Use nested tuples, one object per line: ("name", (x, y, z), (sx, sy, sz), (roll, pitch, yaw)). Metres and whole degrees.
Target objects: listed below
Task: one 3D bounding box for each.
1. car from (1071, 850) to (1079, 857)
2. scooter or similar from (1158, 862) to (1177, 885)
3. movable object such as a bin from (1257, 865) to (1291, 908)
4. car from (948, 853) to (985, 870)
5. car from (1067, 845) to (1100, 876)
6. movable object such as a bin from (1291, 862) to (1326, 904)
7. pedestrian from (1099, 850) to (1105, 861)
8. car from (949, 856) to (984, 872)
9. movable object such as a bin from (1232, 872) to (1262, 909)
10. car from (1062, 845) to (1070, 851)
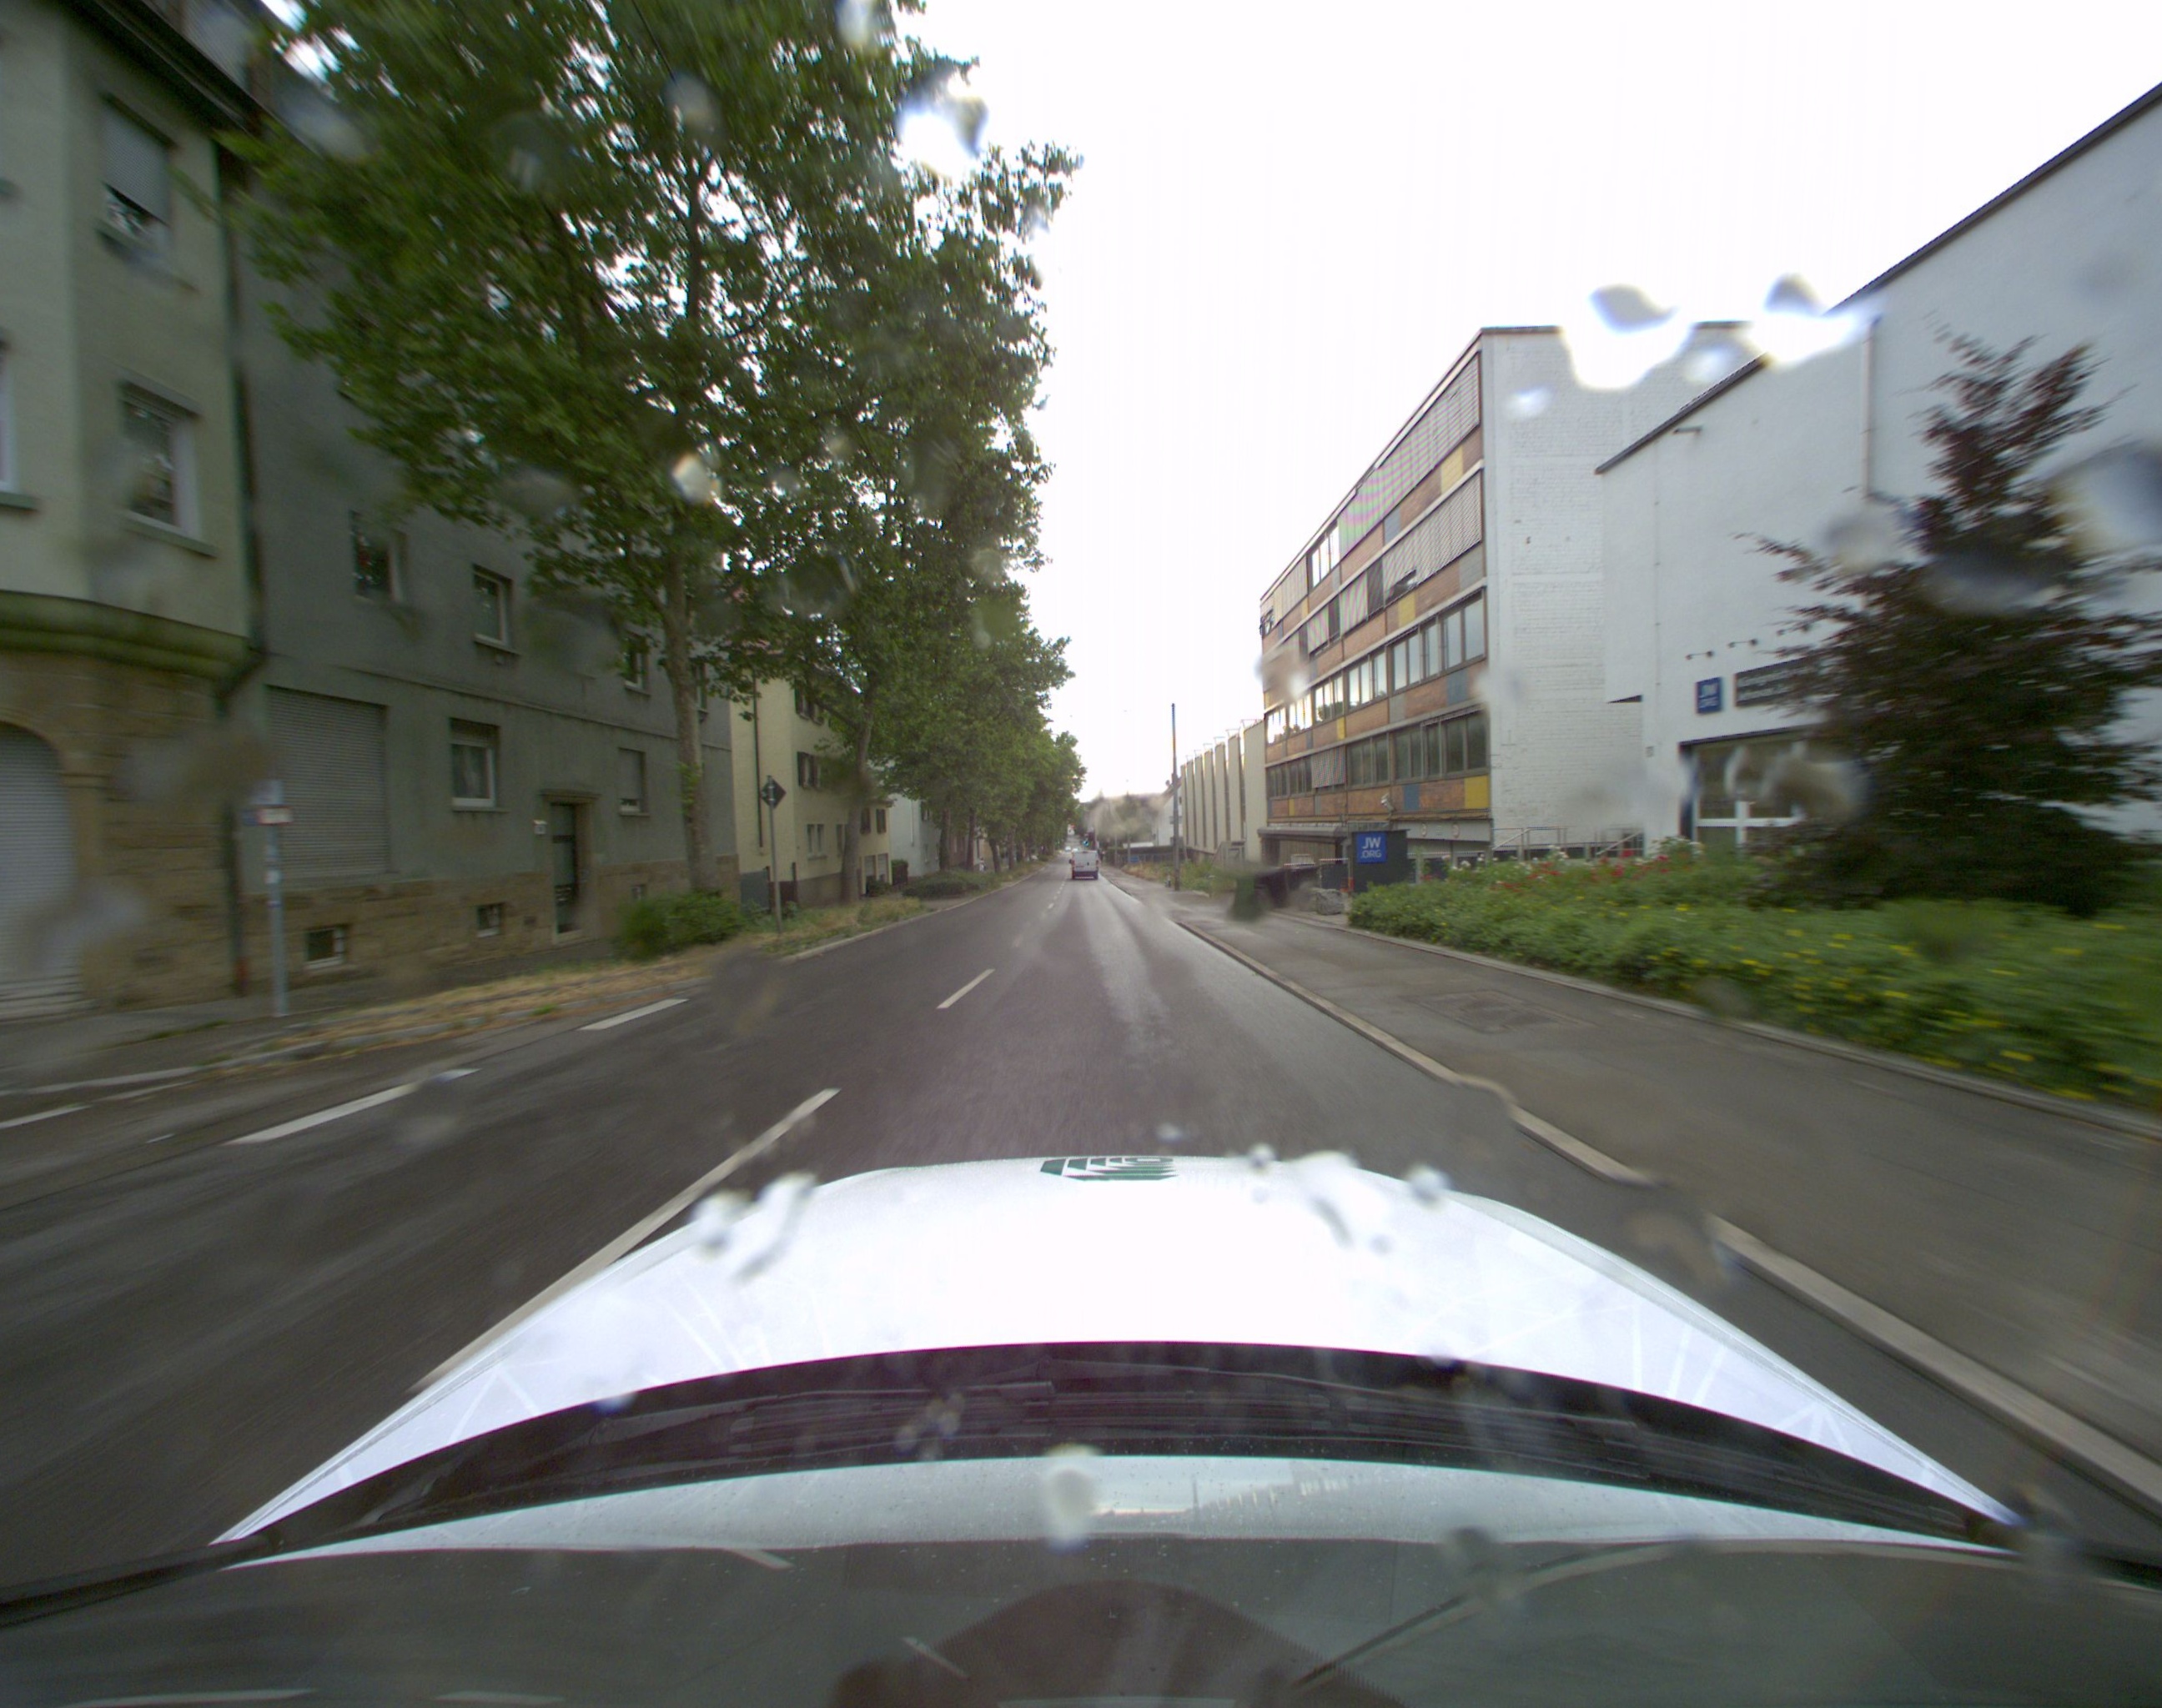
("car", (-1.626, -0.130, 214.567), (1.986, 1.576, 4.003), (-1, 1, 2))
("scooter or similar", (4.358, 0.975, 41.280), (0.604, 1.162, 1.697), (-2, 0, -5))
("movable object such as a bin", (5.331, 0.893, 22.550), (0.692, 1.082, 0.779), (-5, 0, 1))
("car", (-13.979, 0.929, 99.452), (4.185, 1.891, 1.999), (-2, 0, -2))
("car", (0.126, 0.505, 64.837), (2.341, 2.160, 4.774), (-3, 2, -2))
("movable object such as a bin", (6.303, 0.803, 22.612), (0.692, 1.082, 0.779), (-5, 0, 1))
("pedestrian", (3.240, 0.238, 124.303), (0.813, 1.698, 0.729), (-1, 0, -2))
("car", (-14.741, 1.254, 104.943), (4.185, 1.891, 1.999), (-2, 0, -2))
("movable object such as a bin", (4.551, 0.995, 22.384), (0.617, 0.936, 0.686), (-5, 0, 1))
("car", (-4.534, -1.877, 245.928), (1.989, 1.709, 4.255), (-1, 0, -3))
